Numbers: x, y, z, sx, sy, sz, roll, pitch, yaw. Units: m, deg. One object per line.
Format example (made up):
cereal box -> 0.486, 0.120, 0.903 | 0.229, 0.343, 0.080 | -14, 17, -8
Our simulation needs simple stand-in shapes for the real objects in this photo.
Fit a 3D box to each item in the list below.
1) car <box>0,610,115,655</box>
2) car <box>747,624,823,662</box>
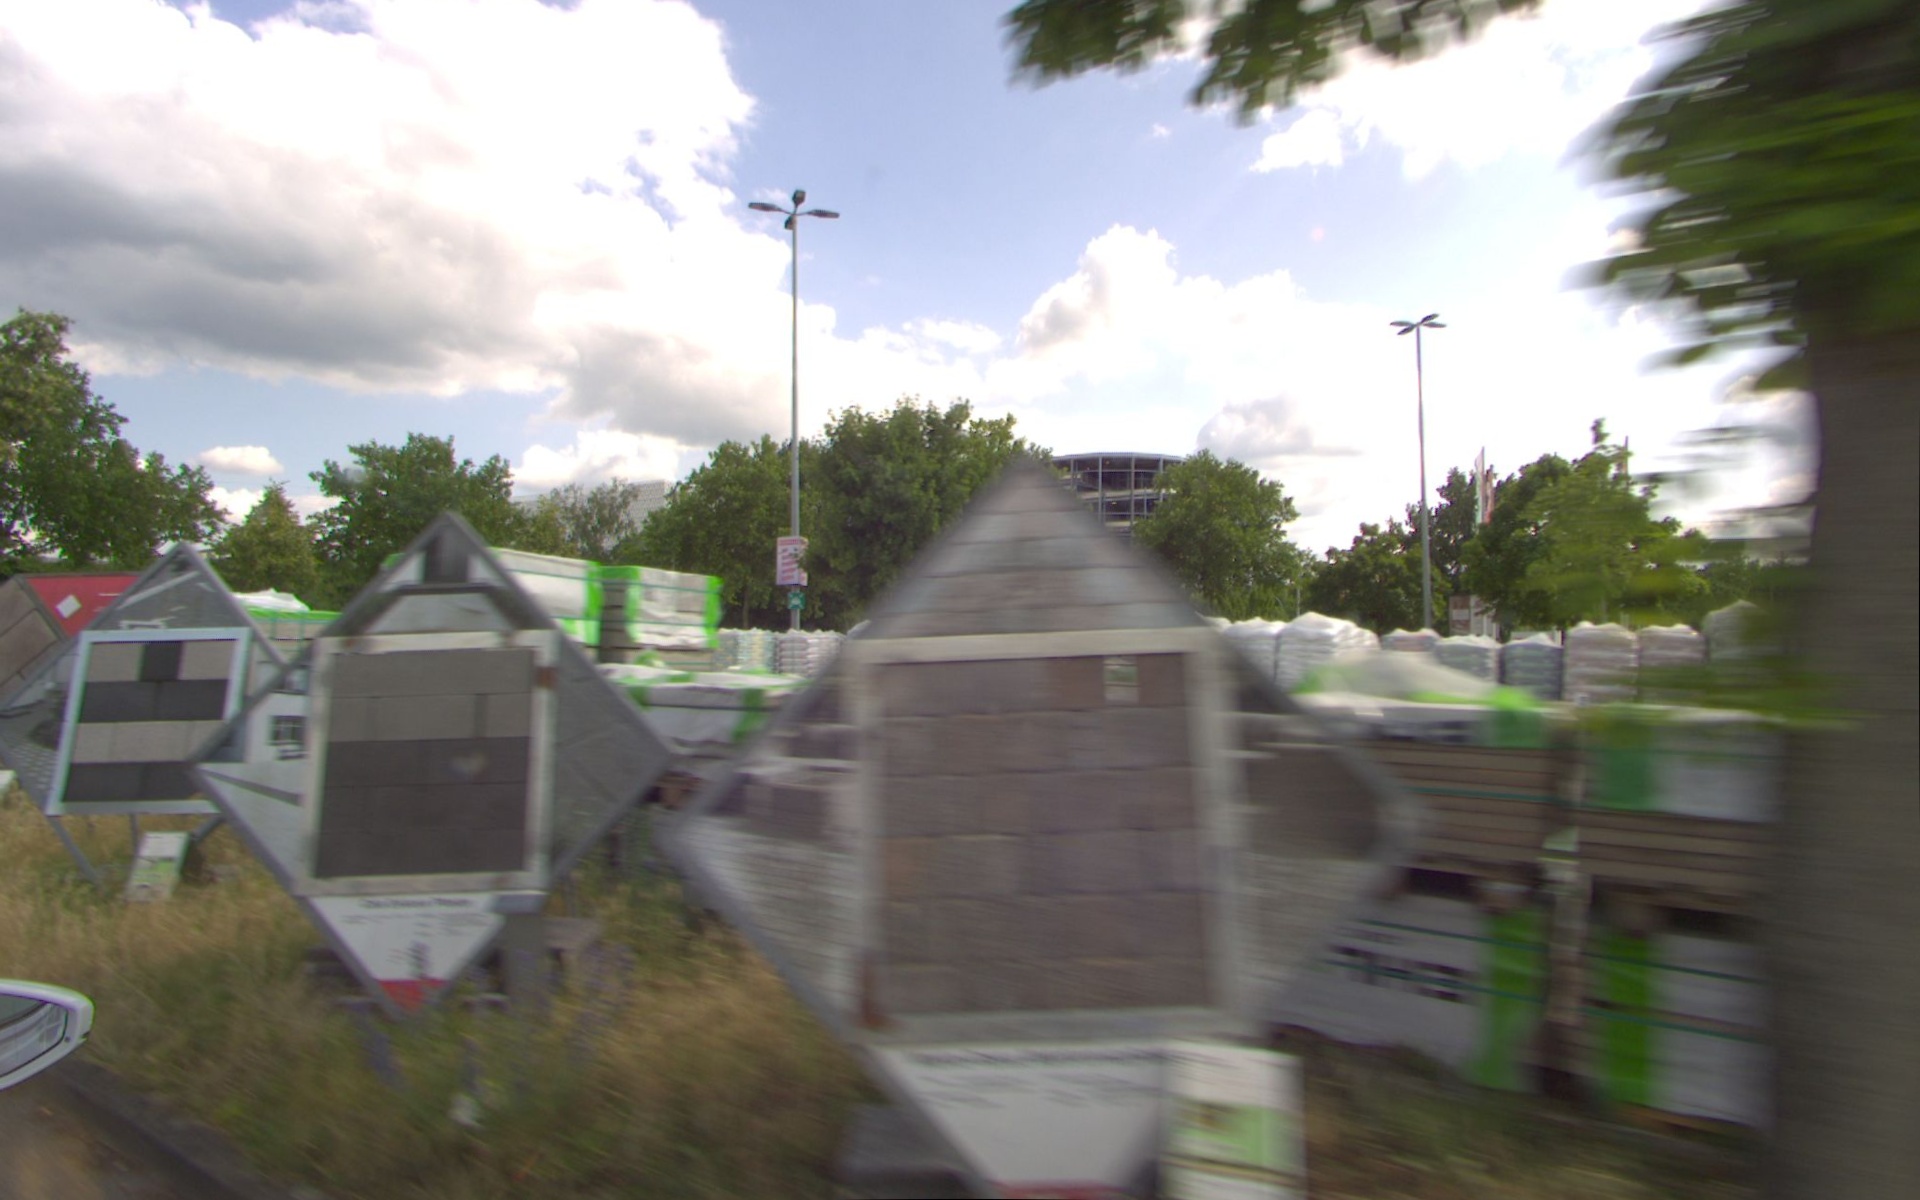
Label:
car -> -38.781, 1.391, 42.582 | 3.937, 1.736, 1.994 | -1, -4, -26
car -> -9.726, 2.388, 55.586 | 3.931, 2.039, 1.996 | 1, -2, -19
